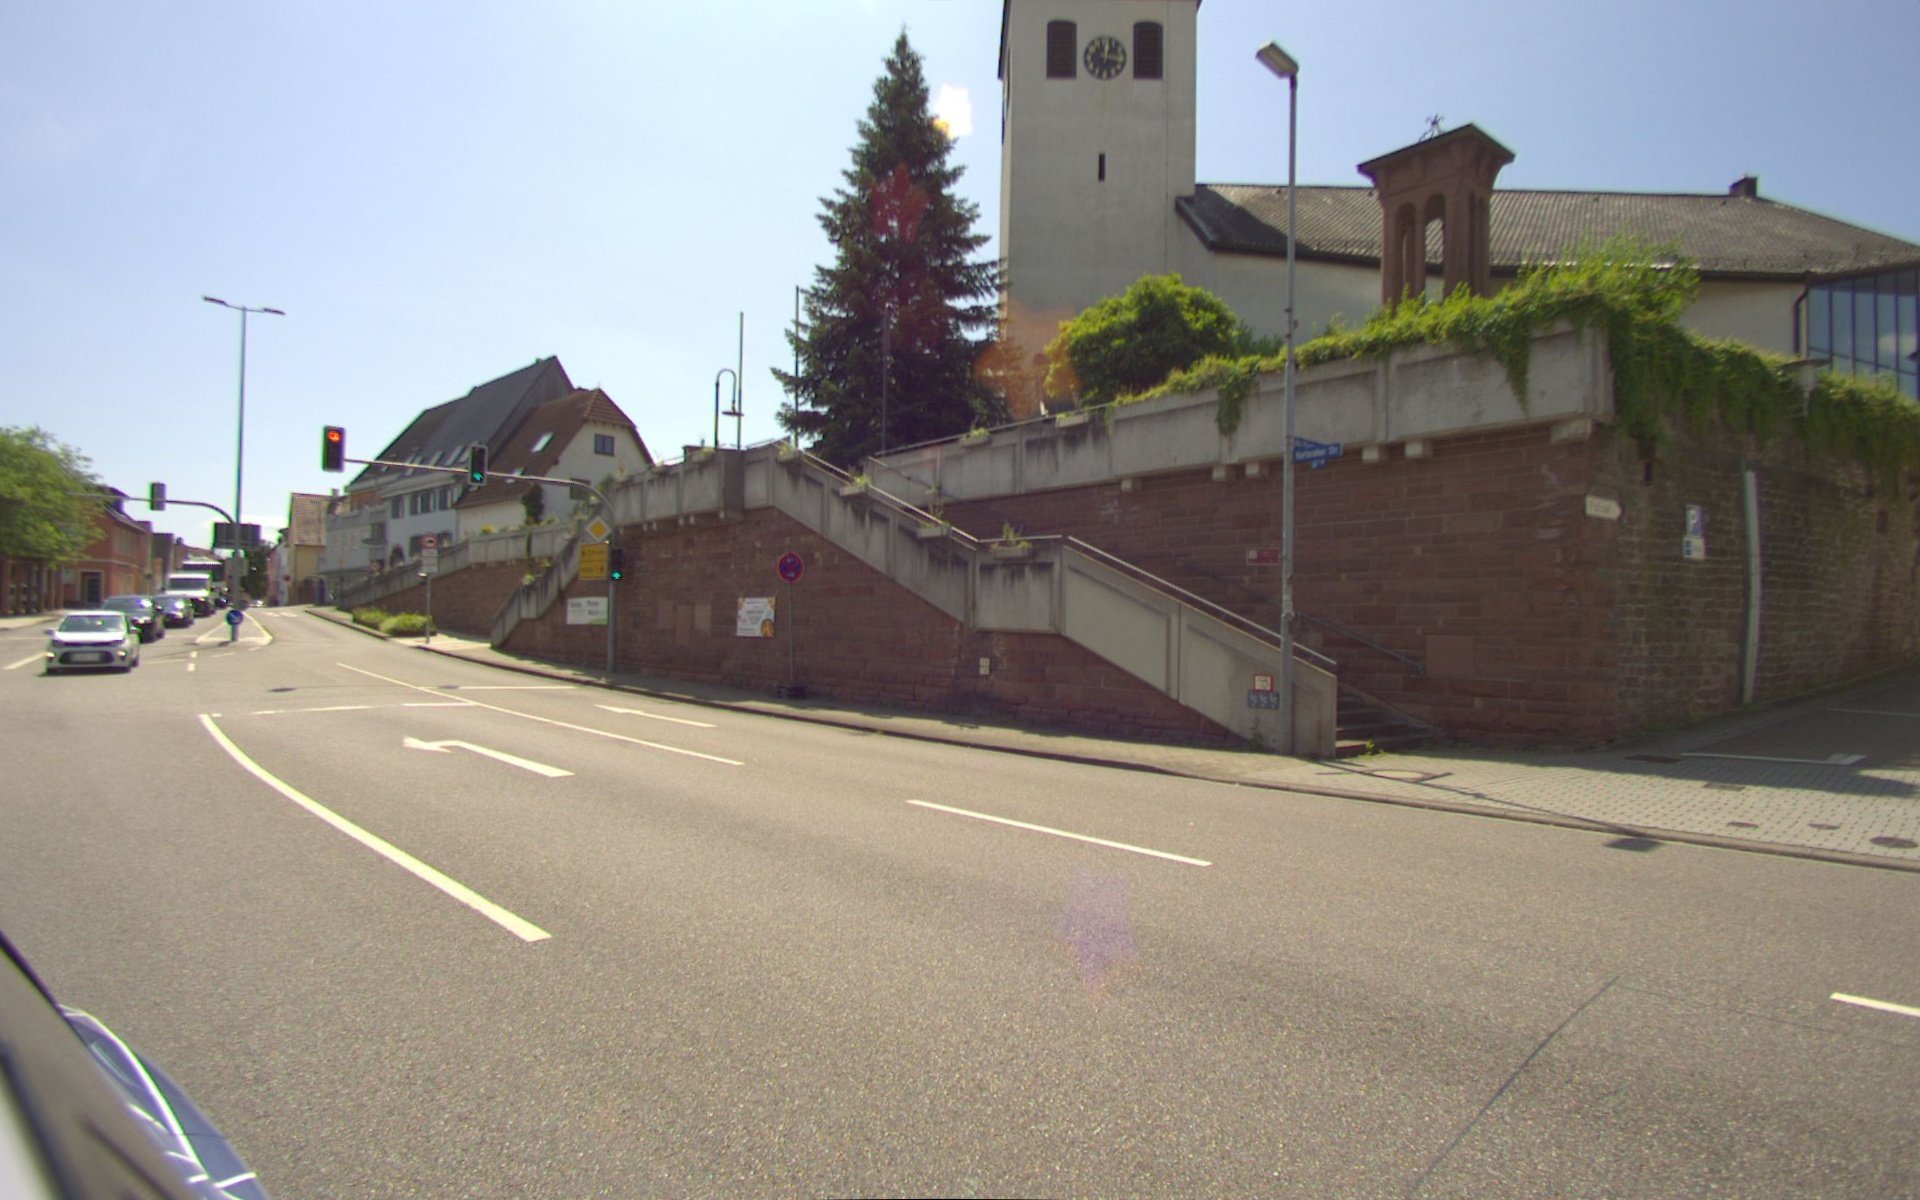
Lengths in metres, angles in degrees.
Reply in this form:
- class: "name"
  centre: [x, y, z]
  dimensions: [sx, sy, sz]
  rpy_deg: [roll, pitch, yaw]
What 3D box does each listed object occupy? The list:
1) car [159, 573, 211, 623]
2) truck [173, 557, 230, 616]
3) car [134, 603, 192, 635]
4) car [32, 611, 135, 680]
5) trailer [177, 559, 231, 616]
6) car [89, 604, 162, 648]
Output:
- class: "car"
  centre: [-42.574, -0.060, 55.670]
  dimensions: [2.141, 2.583, 4.835]
  rpy_deg: [2, -2, -37]
- class: "truck"
  centre: [-49.627, -0.803, 66.355]
  dimensions: [2.803, 3.597, 5.481]
  rpy_deg: [2, -2, -36]
- class: "car"
  centre: [-36.139, 0.824, 45.964]
  dimensions: [1.899, 1.376, 4.313]
  rpy_deg: [0, 0, -36]
- class: "car"
  centre: [-21.942, 1.074, 25.466]
  dimensions: [1.698, 1.562, 4.312]
  rpy_deg: [0, 0, -38]
- class: "trailer"
  centre: [-53.425, -0.739, 71.643]
  dimensions: [2.793, 3.597, 10.991]
  rpy_deg: [2, -2, -36]
- class: "car"
  centre: [-31.082, 0.933, 37.789]
  dimensions: [1.697, 1.562, 4.314]
  rpy_deg: [0, 0, -34]
